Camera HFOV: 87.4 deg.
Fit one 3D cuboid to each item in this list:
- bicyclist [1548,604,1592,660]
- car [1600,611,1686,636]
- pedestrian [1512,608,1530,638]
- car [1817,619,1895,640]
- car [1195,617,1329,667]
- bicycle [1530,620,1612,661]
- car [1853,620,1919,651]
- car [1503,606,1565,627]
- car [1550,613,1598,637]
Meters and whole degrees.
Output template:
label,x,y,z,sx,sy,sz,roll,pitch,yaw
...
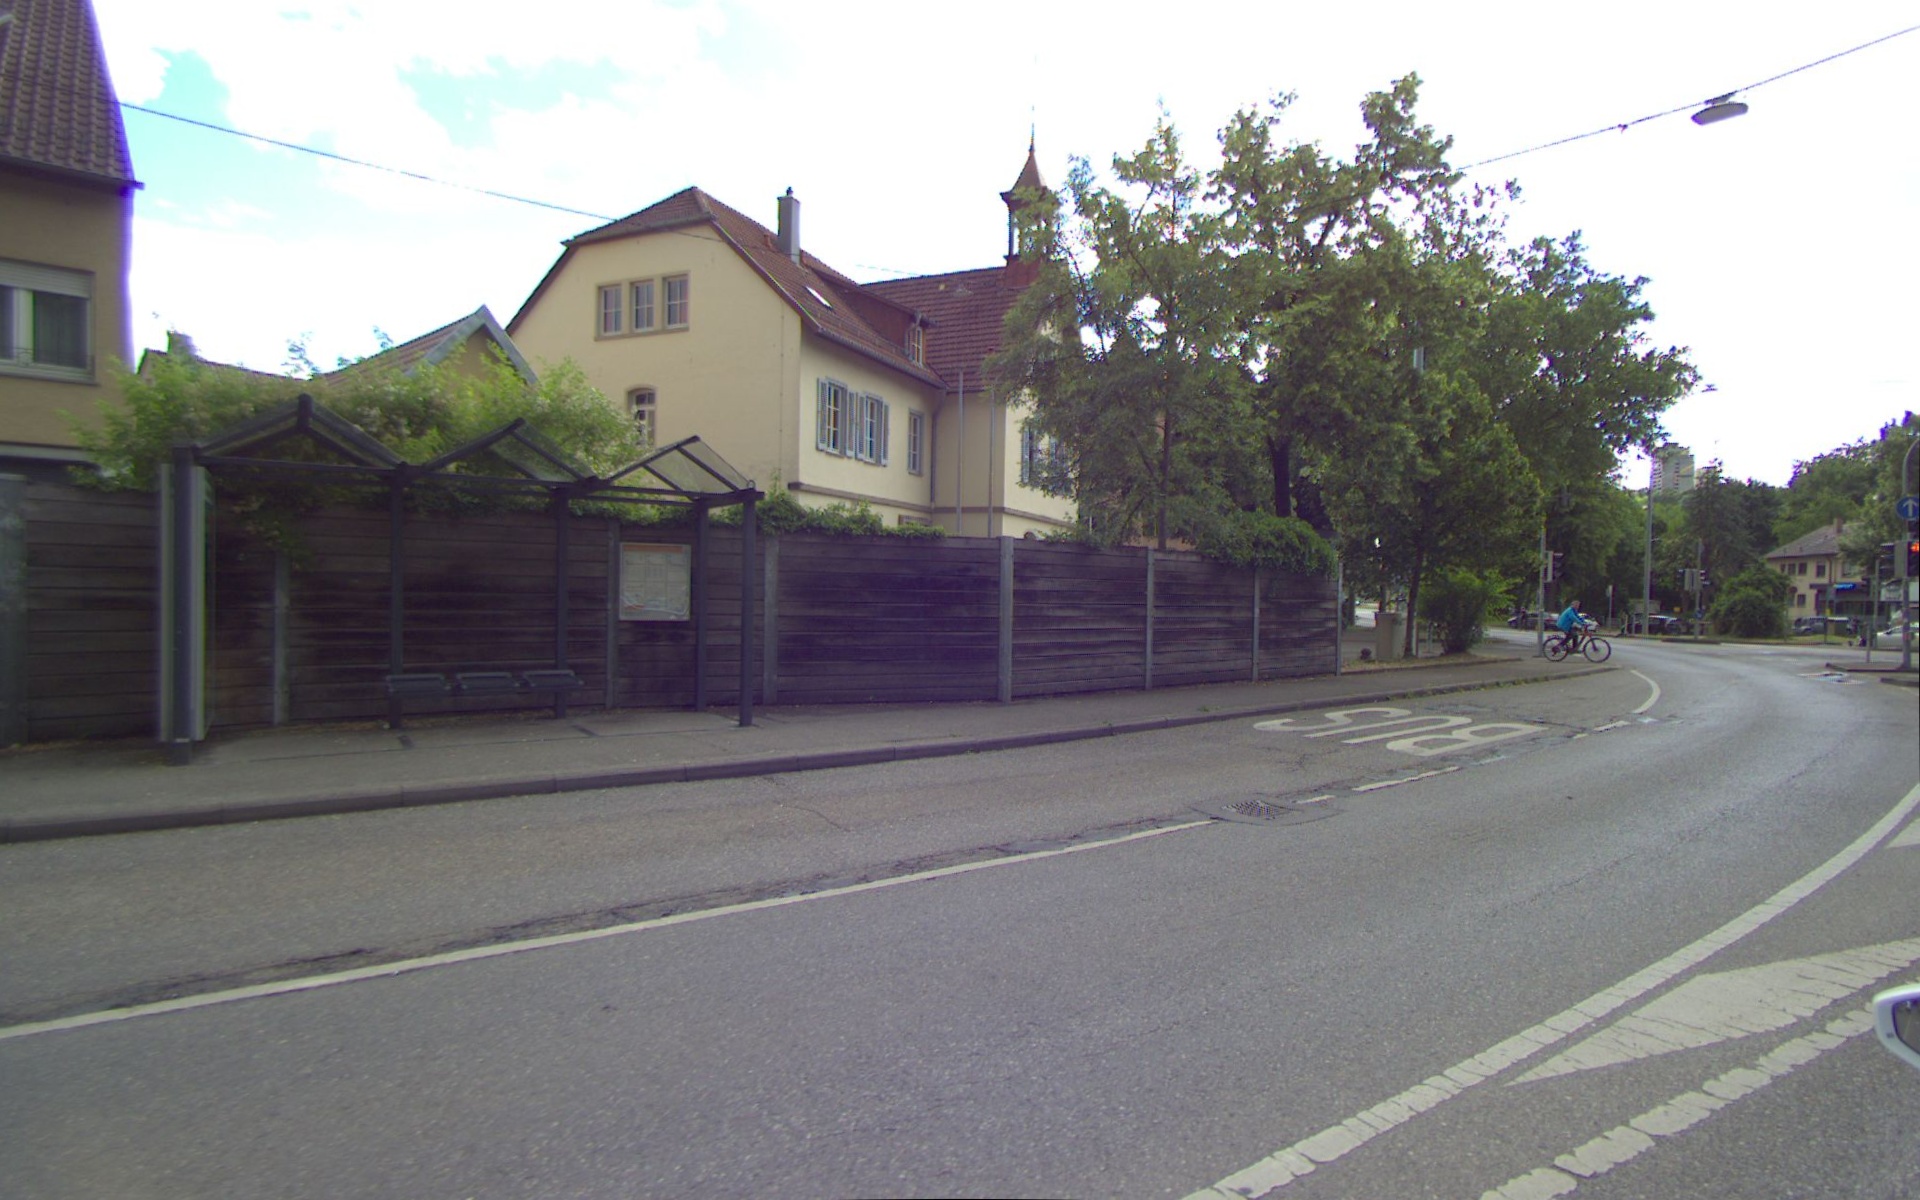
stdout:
label,x,y,z,sx,sy,sz,roll,pitch,yaw
bicyclist,18.127,0.935,29.853,1.083,1.621,0.939,2,0,32
car,45.398,1.548,66.897,1.966,1.537,4.579,1,-1,-14
pedestrian,41.450,1.695,74.264,0.762,2.207,0.858,1,0,-11
car,66.816,2.182,74.975,3.922,1.506,1.759,0,-1,22
car,8.911,1.215,29.918,3.616,1.392,1.738,1,-1,9
bicycle,18.132,1.187,29.853,2.041,1.096,0.939,1,0,32
car,49.269,1.817,51.726,1.966,1.537,4.579,1,-1,-14
car,46.011,1.297,80.635,1.970,1.595,3.981,1,-1,-21
car,49.517,2.009,80.979,3.963,1.795,1.979,1,-1,-37
